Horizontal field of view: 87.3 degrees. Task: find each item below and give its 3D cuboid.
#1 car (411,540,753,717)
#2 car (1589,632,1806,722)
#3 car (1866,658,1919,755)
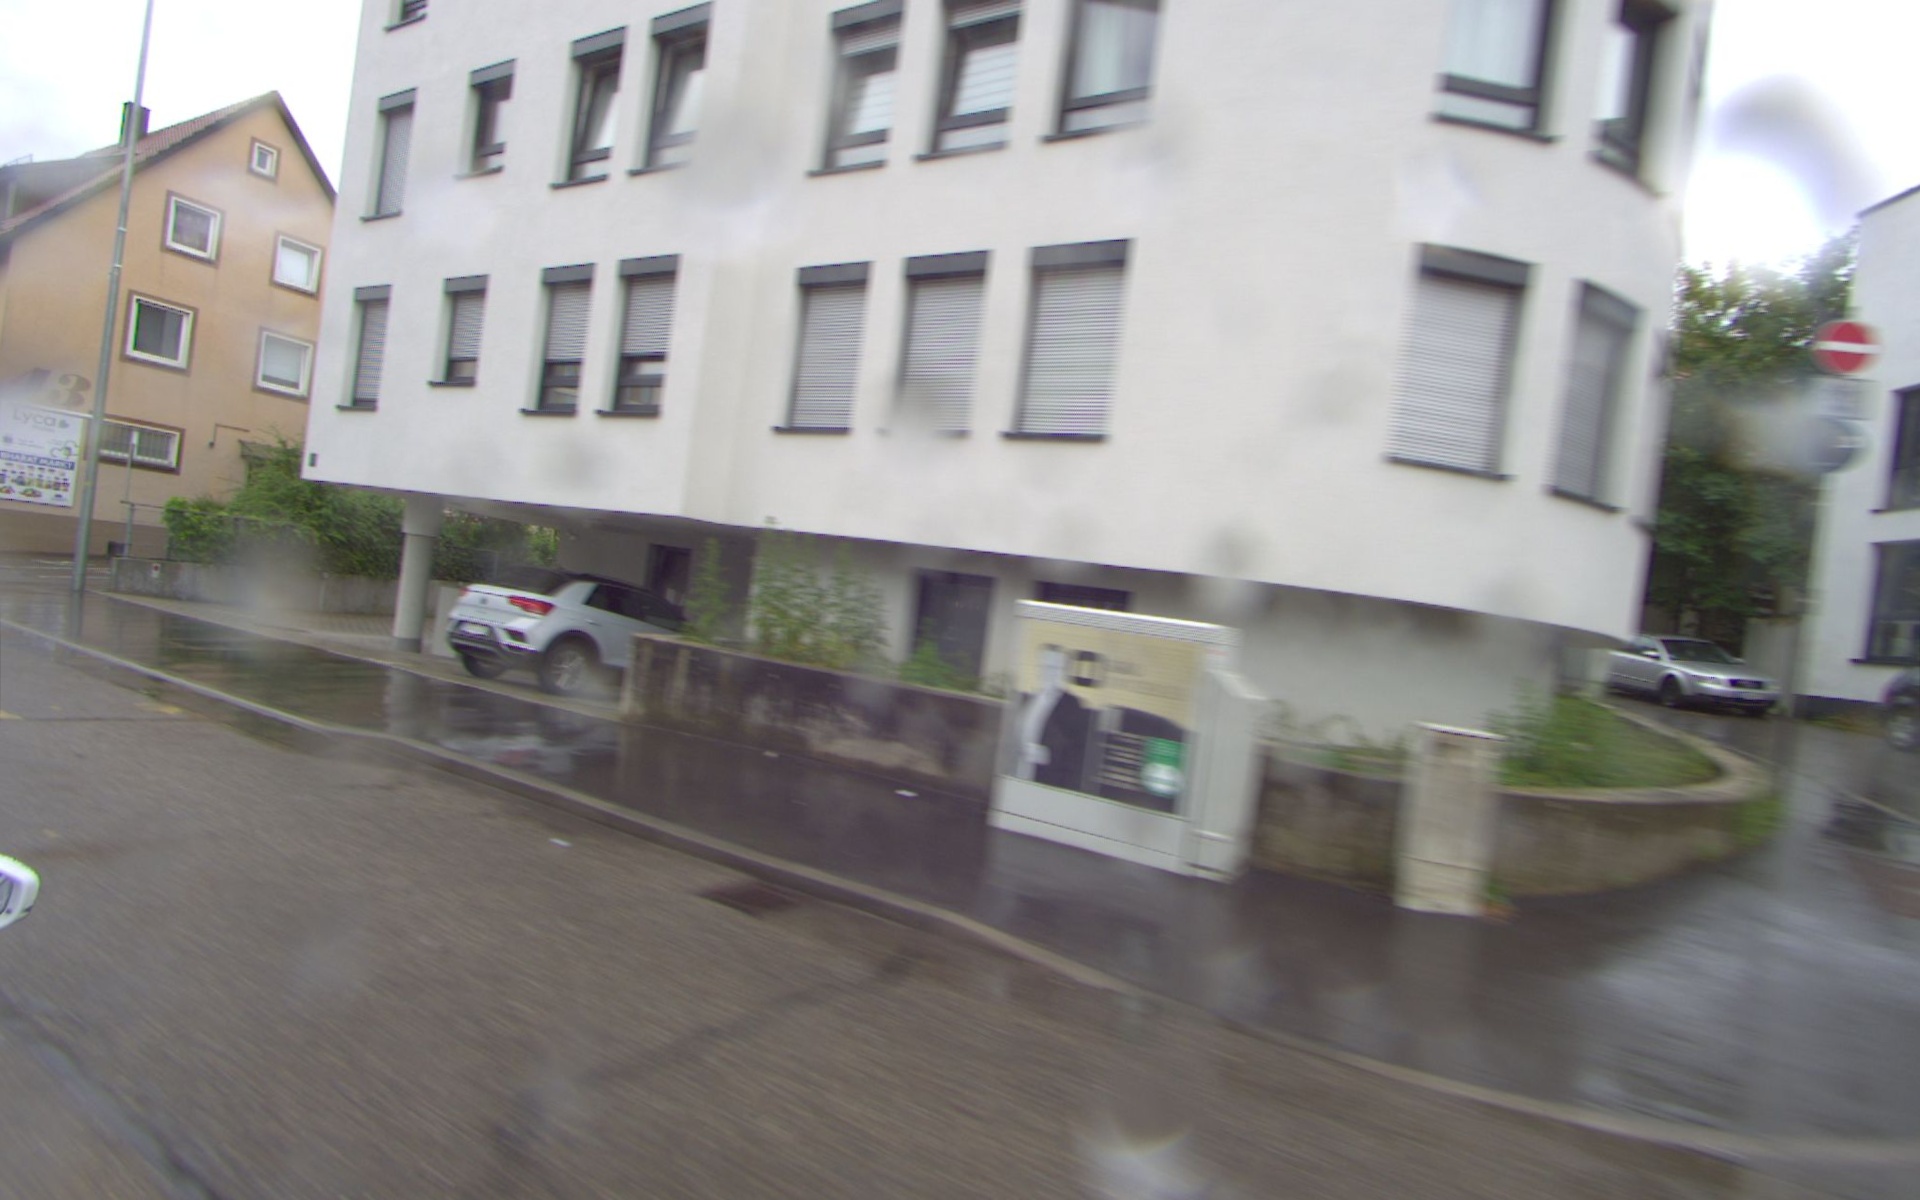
[{"bbox_3d":[-4.827,0.476,13.405,1.789,1.543,3.810,7,-7,31],"label":"car"},{"bbox_3d":[14.588,1.467,20.195,1.715,1.335,3.763,4,1,5],"label":"car"},{"bbox_3d":[14.691,1.649,13.356,1.743,1.335,3.833,4,1,0],"label":"car"}]
